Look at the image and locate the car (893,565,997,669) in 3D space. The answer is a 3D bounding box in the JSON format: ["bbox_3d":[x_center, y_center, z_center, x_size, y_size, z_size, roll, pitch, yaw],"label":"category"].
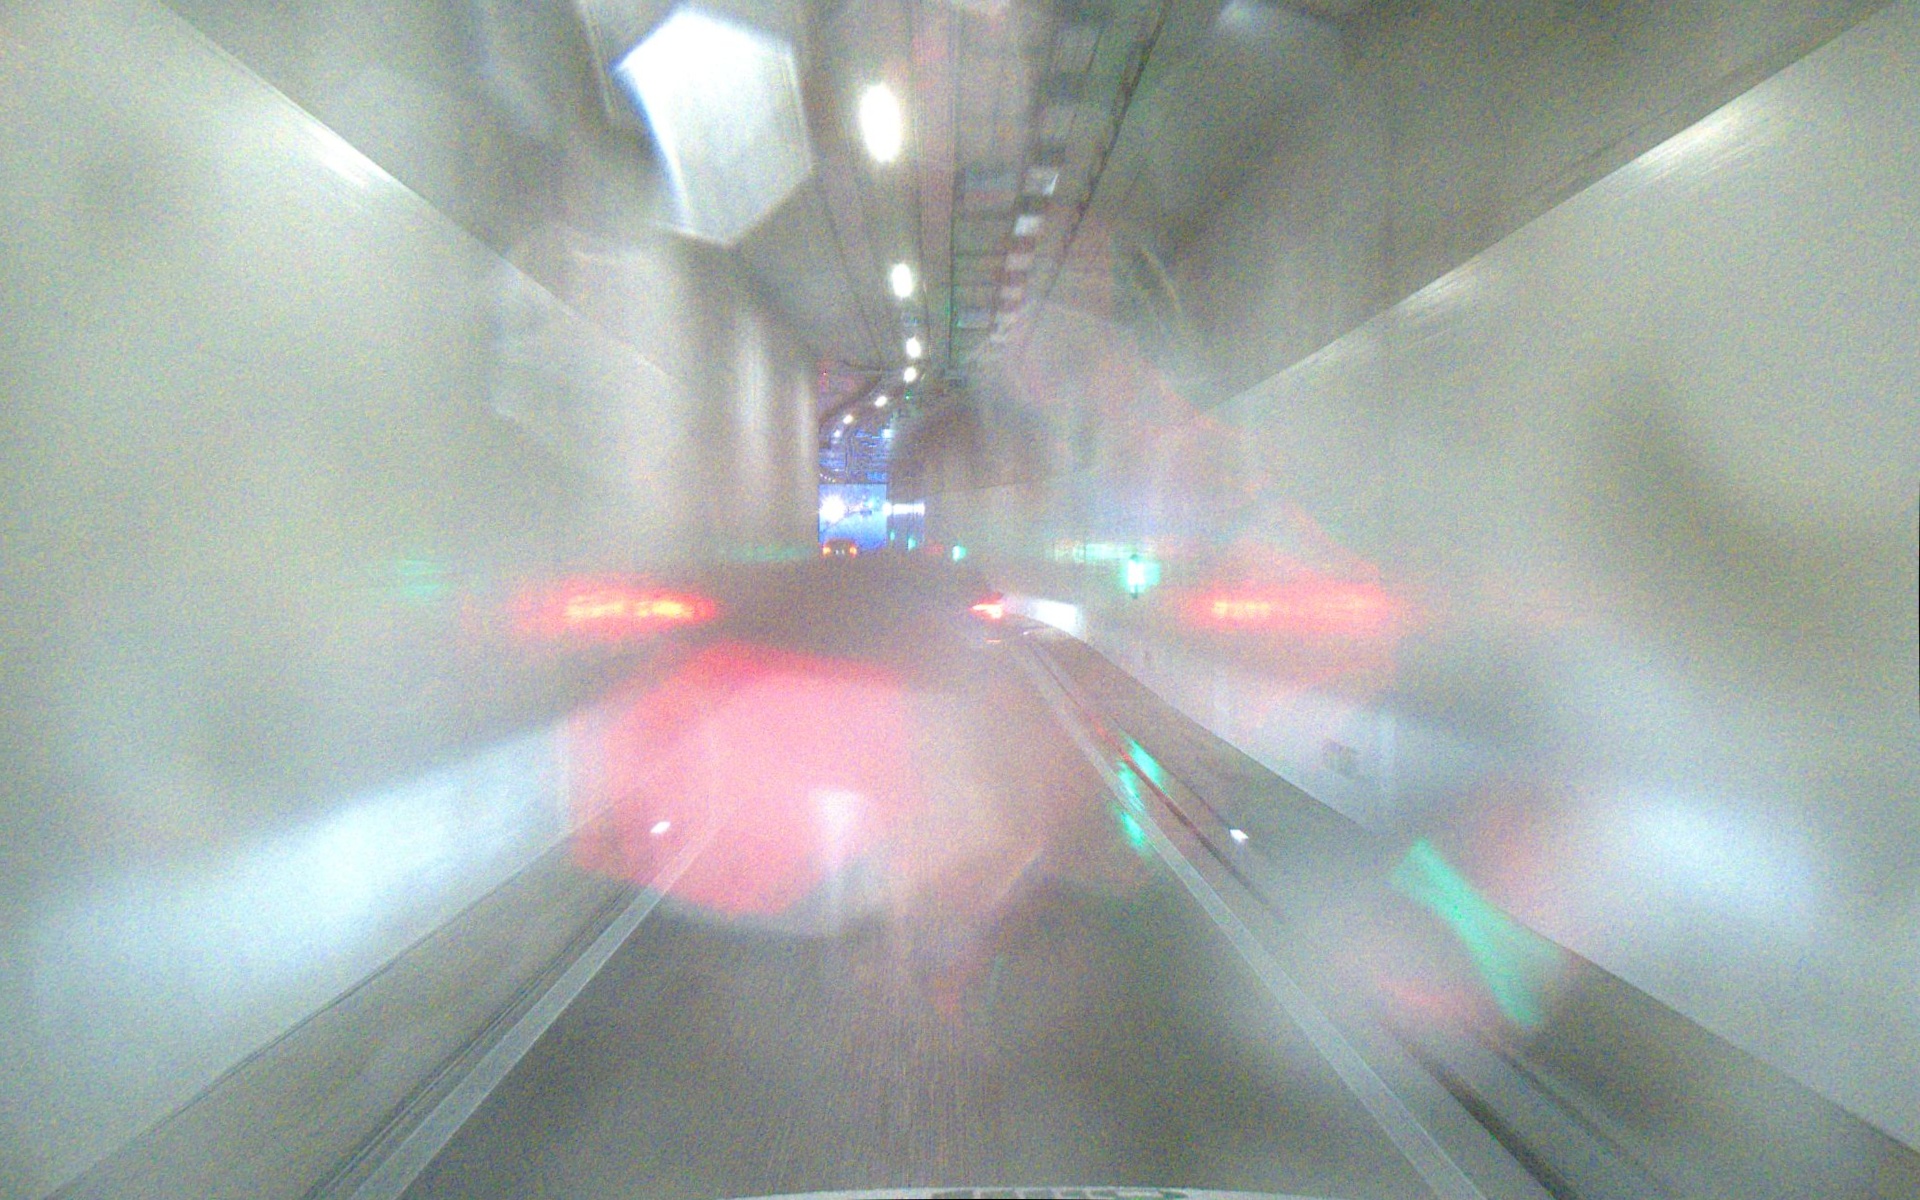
[{"bbox_3d":[-0.245,0.203,25.518,1.501,1.421,3.434,0,2,-1],"label":"car"}]

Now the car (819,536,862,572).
[{"bbox_3d":[-5.617,-2.147,77.445,1.844,1.648,3.995,0,1,-6],"label":"car"}]
